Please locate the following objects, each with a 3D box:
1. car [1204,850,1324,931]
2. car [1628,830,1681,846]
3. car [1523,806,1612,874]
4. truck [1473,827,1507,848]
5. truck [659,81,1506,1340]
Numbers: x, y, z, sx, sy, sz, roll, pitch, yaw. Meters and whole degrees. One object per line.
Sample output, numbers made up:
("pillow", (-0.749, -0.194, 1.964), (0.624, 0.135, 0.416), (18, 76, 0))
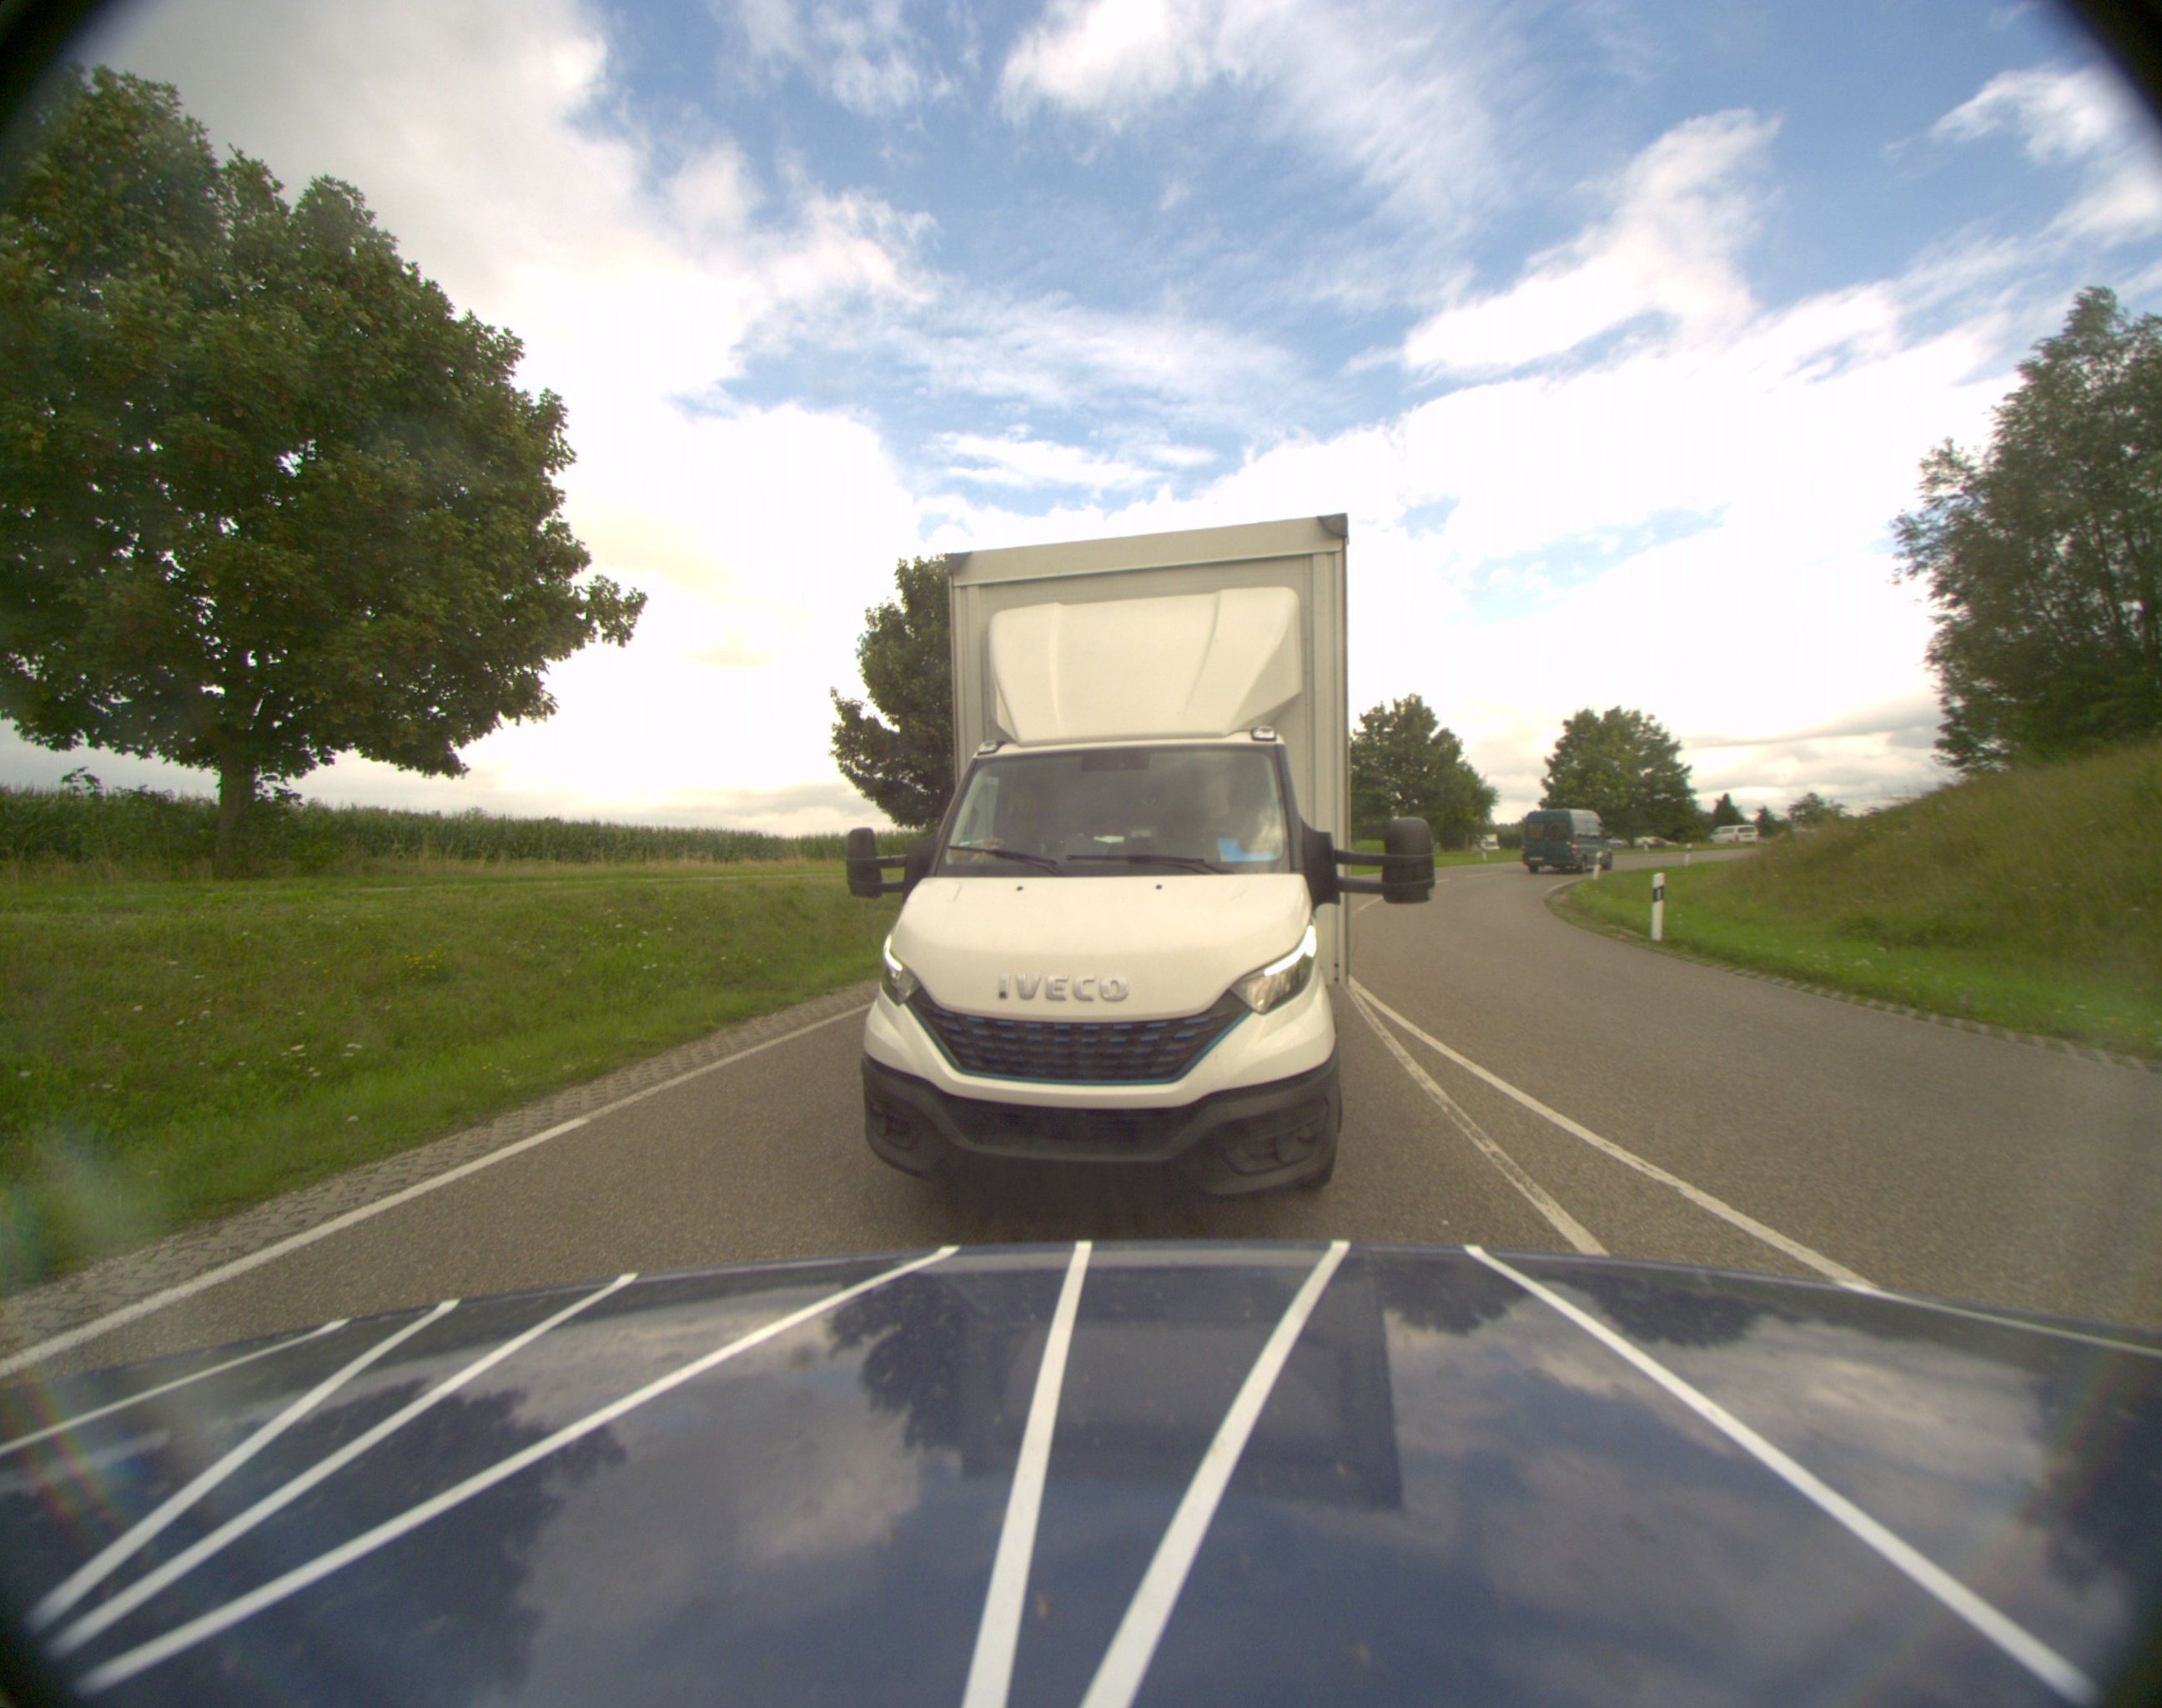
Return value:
("car", (3.980, 0.686, 16.035), (1.747, 1.457, 4.006), (-2, 0, 24))
("car", (64.643, -1.829, 85.752), (4.393, 1.576, 2.003), (-2, 0, 26))
("car", (20.415, -0.602, 31.784), (5.132, 2.615, 1.994), (-1, 2, -44))
("truck", (50.466, -2.026, 93.935), (2.288, 2.407, 6.389), (-2, 0, 15))
("truck", (0.726, -0.401, 6.851), (2.834, 3.741, 8.807), (-1, 0, 11))
